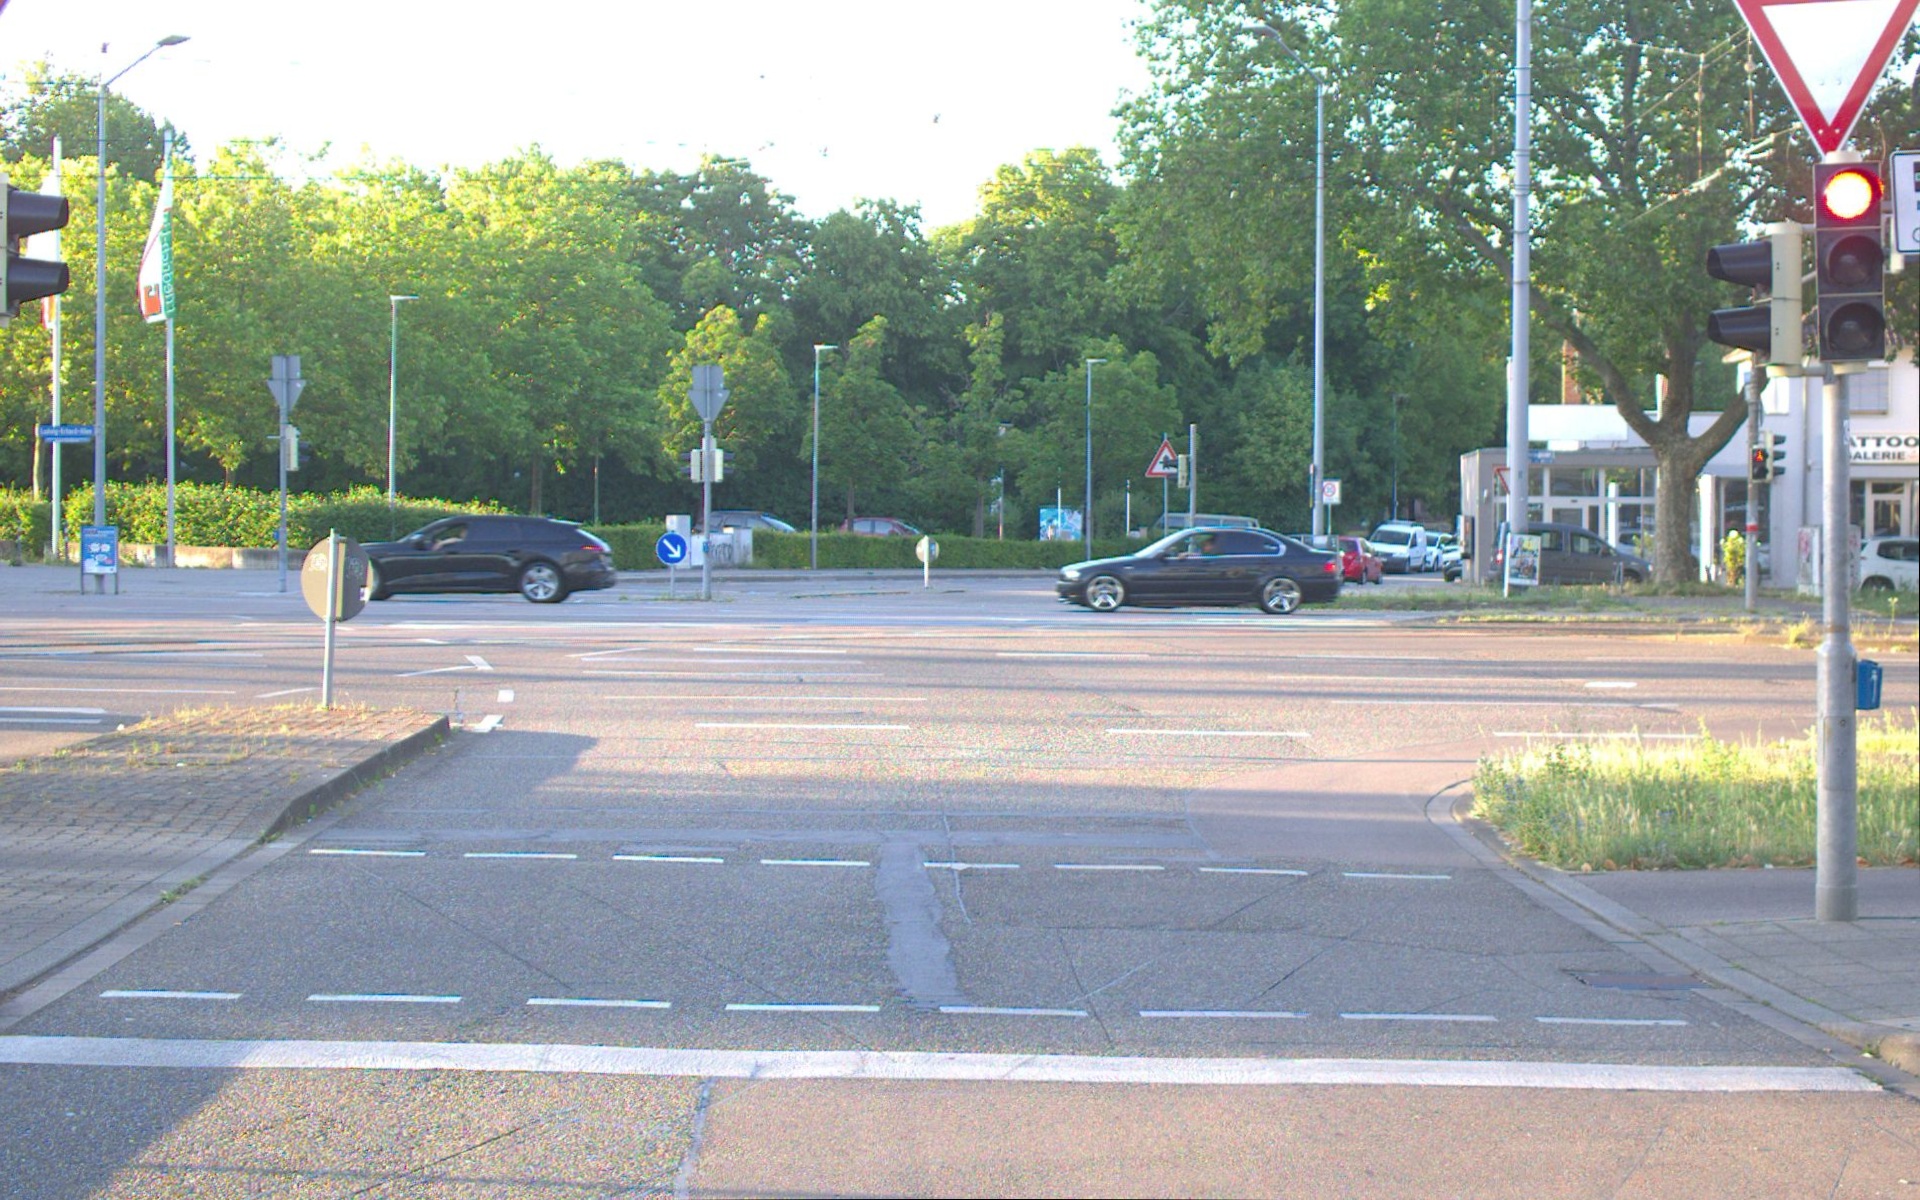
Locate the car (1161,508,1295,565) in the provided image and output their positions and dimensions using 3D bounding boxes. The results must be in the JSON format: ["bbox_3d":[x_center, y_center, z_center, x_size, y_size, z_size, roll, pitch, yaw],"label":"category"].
[{"bbox_3d":[9.780,-2.316,125.870,4.774,1.999,2.000,0,0,2],"label":"car"}]

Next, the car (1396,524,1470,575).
[{"bbox_3d":[15.919,-1.674,115.593,1.995,1.656,3.997,1,0,15],"label":"car"}]

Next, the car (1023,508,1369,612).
[{"bbox_3d":[3.634,-0.621,53.727,5.224,1.547,2.000,0,0,-1],"label":"car"}]

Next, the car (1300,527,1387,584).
[{"bbox_3d":[11.555,-1.335,103.368,1.995,1.656,3.997,1,0,15],"label":"car"}]

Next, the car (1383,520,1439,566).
[{"bbox_3d":[17.879,-2.249,136.079,1.864,1.788,3.998,1,0,12],"label":"car"}]

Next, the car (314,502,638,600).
[{"bbox_3d":[-7.978,-0.804,56.983,5.099,1.547,2.000,0,0,-1],"label":"car"}]

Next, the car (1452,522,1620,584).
[{"bbox_3d":[14.911,-1.213,89.163,4.220,1.547,1.999,1,0,7],"label":"car"}]

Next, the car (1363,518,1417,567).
[{"bbox_3d":[16.424,-2.187,131.184,1.864,1.788,3.998,1,0,10],"label":"car"}]

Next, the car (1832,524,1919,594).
[{"bbox_3d":[20.307,-0.850,72.144,3.741,1.435,1.663,1,0,9],"label":"car"}]
